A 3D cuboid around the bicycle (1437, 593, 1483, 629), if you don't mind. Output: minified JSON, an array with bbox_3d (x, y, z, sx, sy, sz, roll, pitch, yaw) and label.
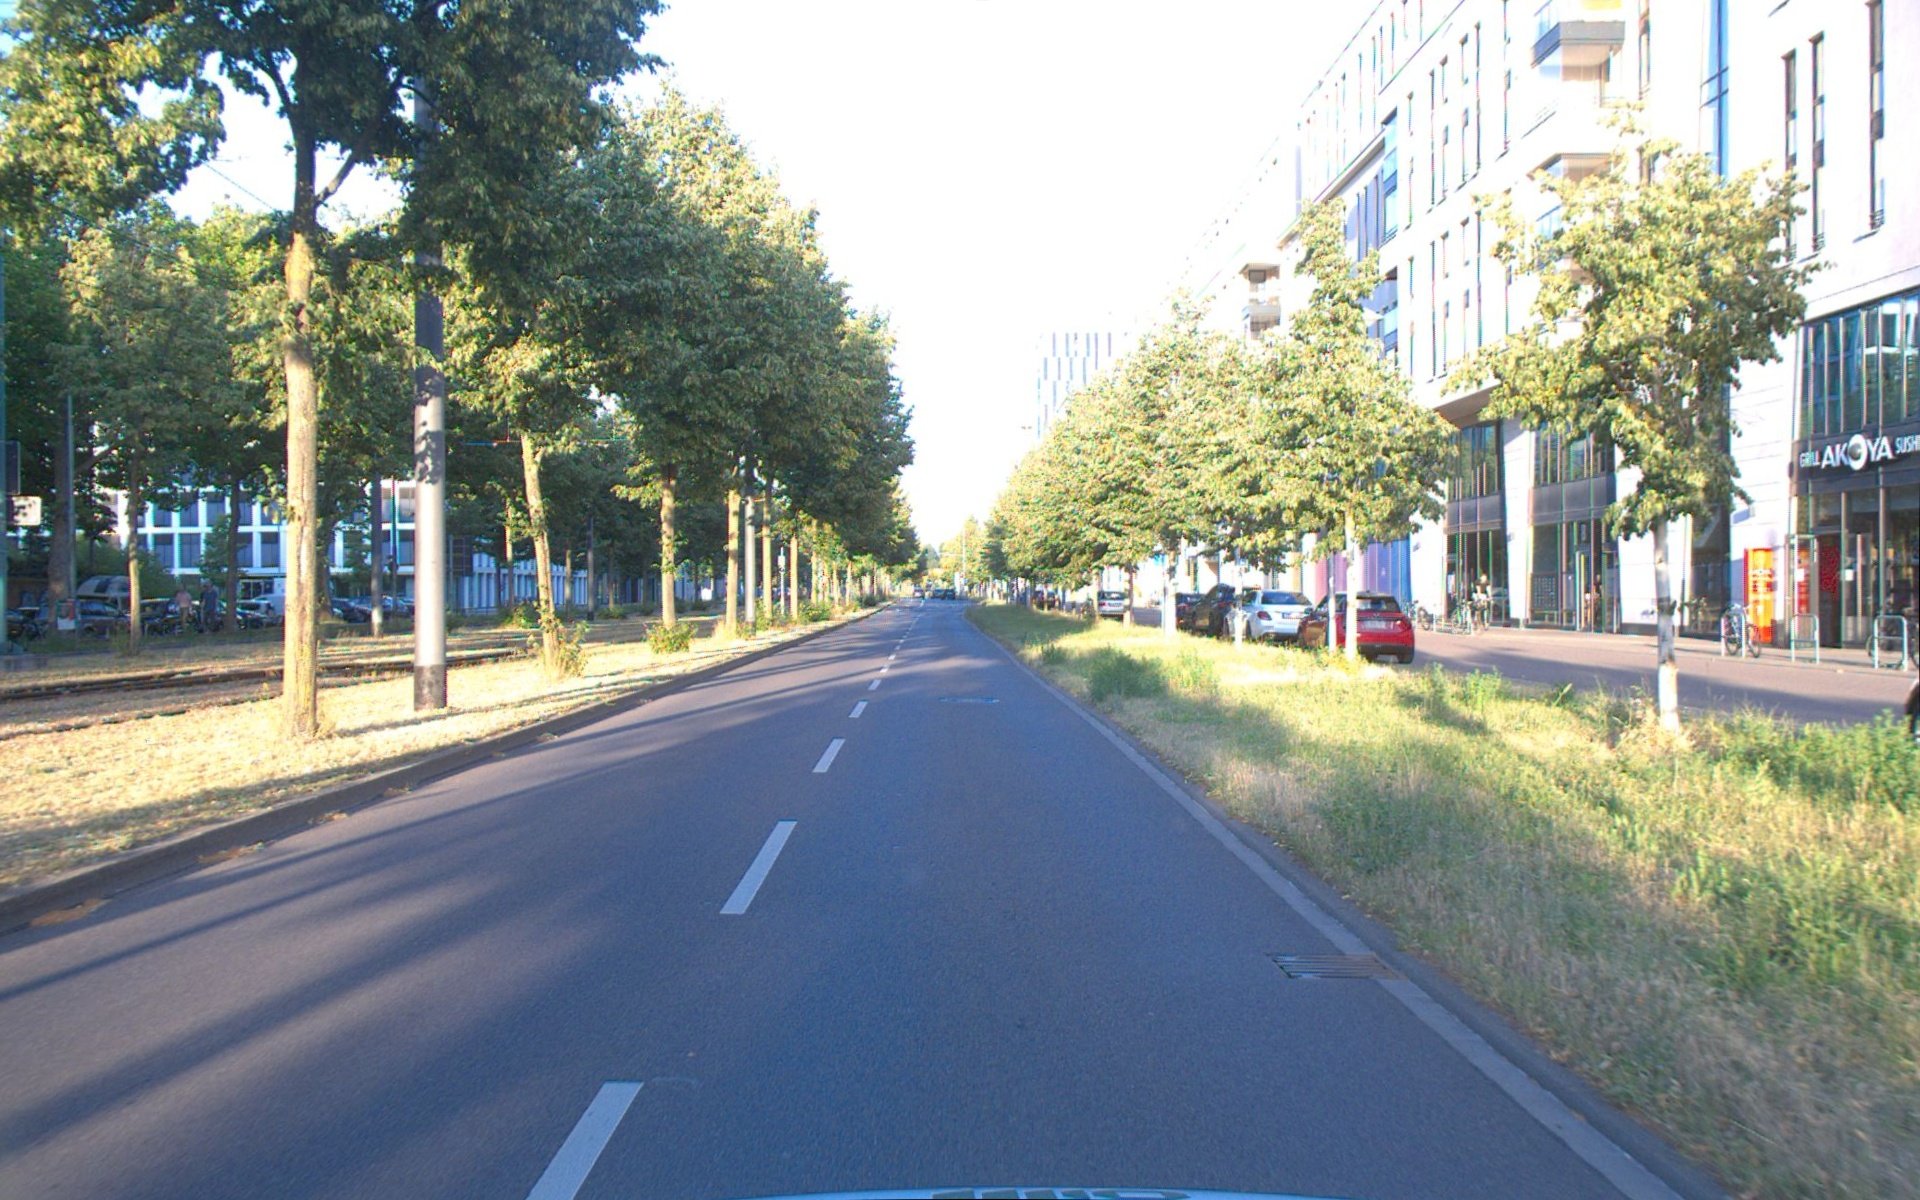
[{"bbox_3d":[14.857,0.311,49.189,0.607,1.051,2.260,-1,0,-2],"label":"bicycle"}]

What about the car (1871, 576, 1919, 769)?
[{"bbox_3d":[8.532,0.581,11.617,1.772,1.527,4.367,0,0,-2],"label":"car"}]

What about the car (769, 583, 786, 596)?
[{"bbox_3d":[-24.815,-1.418,224.735,1.847,1.605,4.181,-1,0,-1],"label":"car"}]

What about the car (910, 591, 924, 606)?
[{"bbox_3d":[-6.106,-0.203,235.711,2.045,2.049,3.999,0,0,-2],"label":"car"}]

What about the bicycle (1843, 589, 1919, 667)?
[{"bbox_3d":[15.433,0.451,27.423,0.604,1.253,1.670,-1,0,-3],"label":"bicycle"}]

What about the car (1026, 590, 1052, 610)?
[{"bbox_3d":[6.454,-0.022,135.197,1.817,1.556,4.481,1,0,-1],"label":"car"}]

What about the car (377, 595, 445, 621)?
[{"bbox_3d":[-36.437,0.512,109.876,3.908,1.668,1.920,0,0,-5],"label":"car"}]

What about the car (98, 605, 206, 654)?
[{"bbox_3d":[-31.389,1.119,64.444,1.953,1.780,4.789,-1,0,-2],"label":"car"}]

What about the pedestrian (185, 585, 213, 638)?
[{"bbox_3d":[-27.591,0.398,59.984,0.680,1.903,0.864,-1,0,-9],"label":"pedestrian"}]

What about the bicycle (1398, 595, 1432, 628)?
[{"bbox_3d":[15.039,0.380,54.692,0.523,1.078,1.610,0,0,-6],"label":"bicycle"}]

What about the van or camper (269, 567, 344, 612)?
[{"bbox_3d":[-47.274,-0.772,119.788,2.654,3.139,6.264,0,0,3],"label":"van or camper"}]

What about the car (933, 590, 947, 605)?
[{"bbox_3d":[-2.923,-0.384,240.807,1.953,2.049,4.000,-1,0,-1],"label":"car"}]

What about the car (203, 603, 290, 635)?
[{"bbox_3d":[-39.040,1.029,90.565,3.908,1.668,1.920,0,0,-5],"label":"car"}]

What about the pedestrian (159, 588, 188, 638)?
[{"bbox_3d":[-28.270,0.461,59.447,0.680,1.789,0.864,-1,0,-9],"label":"pedestrian"}]

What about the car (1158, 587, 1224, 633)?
[{"bbox_3d":[8.025,0.330,57.776,1.689,1.527,4.232,1,0,-1],"label":"car"}]

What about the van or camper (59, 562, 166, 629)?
[{"bbox_3d":[-36.989,-0.187,72.385,2.043,2.783,5.492,-1,0,-2],"label":"van or camper"}]

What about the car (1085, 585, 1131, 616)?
[{"bbox_3d":[7.472,0.019,83.896,1.772,1.527,4.824,0,0,-2],"label":"car"}]

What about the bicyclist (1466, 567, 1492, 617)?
[{"bbox_3d":[16.470,-0.253,52.508,0.533,1.596,1.020,0,0,2],"label":"bicyclist"}]

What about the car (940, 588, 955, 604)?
[{"bbox_3d":[-1.745,-0.563,222.783,1.953,2.049,3.999,0,0,-2],"label":"car"}]

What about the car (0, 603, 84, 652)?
[{"bbox_3d":[-31.222,0.896,55.122,1.765,1.588,3.840,-1,0,4],"label":"car"}]

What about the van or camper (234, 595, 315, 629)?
[{"bbox_3d":[-38.712,0.673,93.476,3.916,1.822,1.995,-1,0,-11],"label":"van or camper"}]

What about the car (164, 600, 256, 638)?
[{"bbox_3d":[-31.608,0.786,69.841,1.952,1.512,4.001,-1,0,2],"label":"car"}]

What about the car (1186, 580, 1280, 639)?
[{"bbox_3d":[8.260,0.277,50.400,1.914,1.652,4.819,2,0,-2],"label":"car"}]

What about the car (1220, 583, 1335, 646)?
[{"bbox_3d":[8.141,0.324,42.863,1.882,1.527,5.008,0,0,-2],"label":"car"}]

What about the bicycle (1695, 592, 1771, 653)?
[{"bbox_3d":[15.400,0.430,32.987,0.535,1.148,1.867,-2,0,-3],"label":"bicycle"}]

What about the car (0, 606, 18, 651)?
[{"bbox_3d":[-29.573,0.850,47.473,1.952,1.338,5.144,-1,0,3],"label":"car"}]

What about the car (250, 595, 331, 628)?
[{"bbox_3d":[-39.153,0.655,96.791,3.905,1.877,2.012,0,0,-1],"label":"car"}]

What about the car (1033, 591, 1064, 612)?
[{"bbox_3d":[6.799,0.104,127.961,1.905,1.576,4.809,-1,0,-3],"label":"car"}]

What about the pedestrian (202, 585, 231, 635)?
[{"bbox_3d":[-26.789,0.348,59.598,0.679,1.773,0.866,-1,0,-3],"label":"pedestrian"}]

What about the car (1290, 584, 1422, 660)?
[{"bbox_3d":[8.376,0.424,35.287,1.772,1.527,3.958,0,0,-2],"label":"car"}]

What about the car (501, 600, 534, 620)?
[{"bbox_3d":[-37.098,0.819,138.863,1.822,1.609,3.492,0,0,0],"label":"car"}]

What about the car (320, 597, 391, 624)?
[{"bbox_3d":[-39.084,0.663,107.018,3.908,1.668,1.920,0,0,-5],"label":"car"}]

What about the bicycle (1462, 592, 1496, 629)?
[{"bbox_3d":[16.478,0.316,52.557,0.532,1.137,1.913,0,0,2],"label":"bicycle"}]

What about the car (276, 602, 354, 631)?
[{"bbox_3d":[-38.775,1.004,99.539,3.902,1.668,1.923,0,0,6],"label":"car"}]
